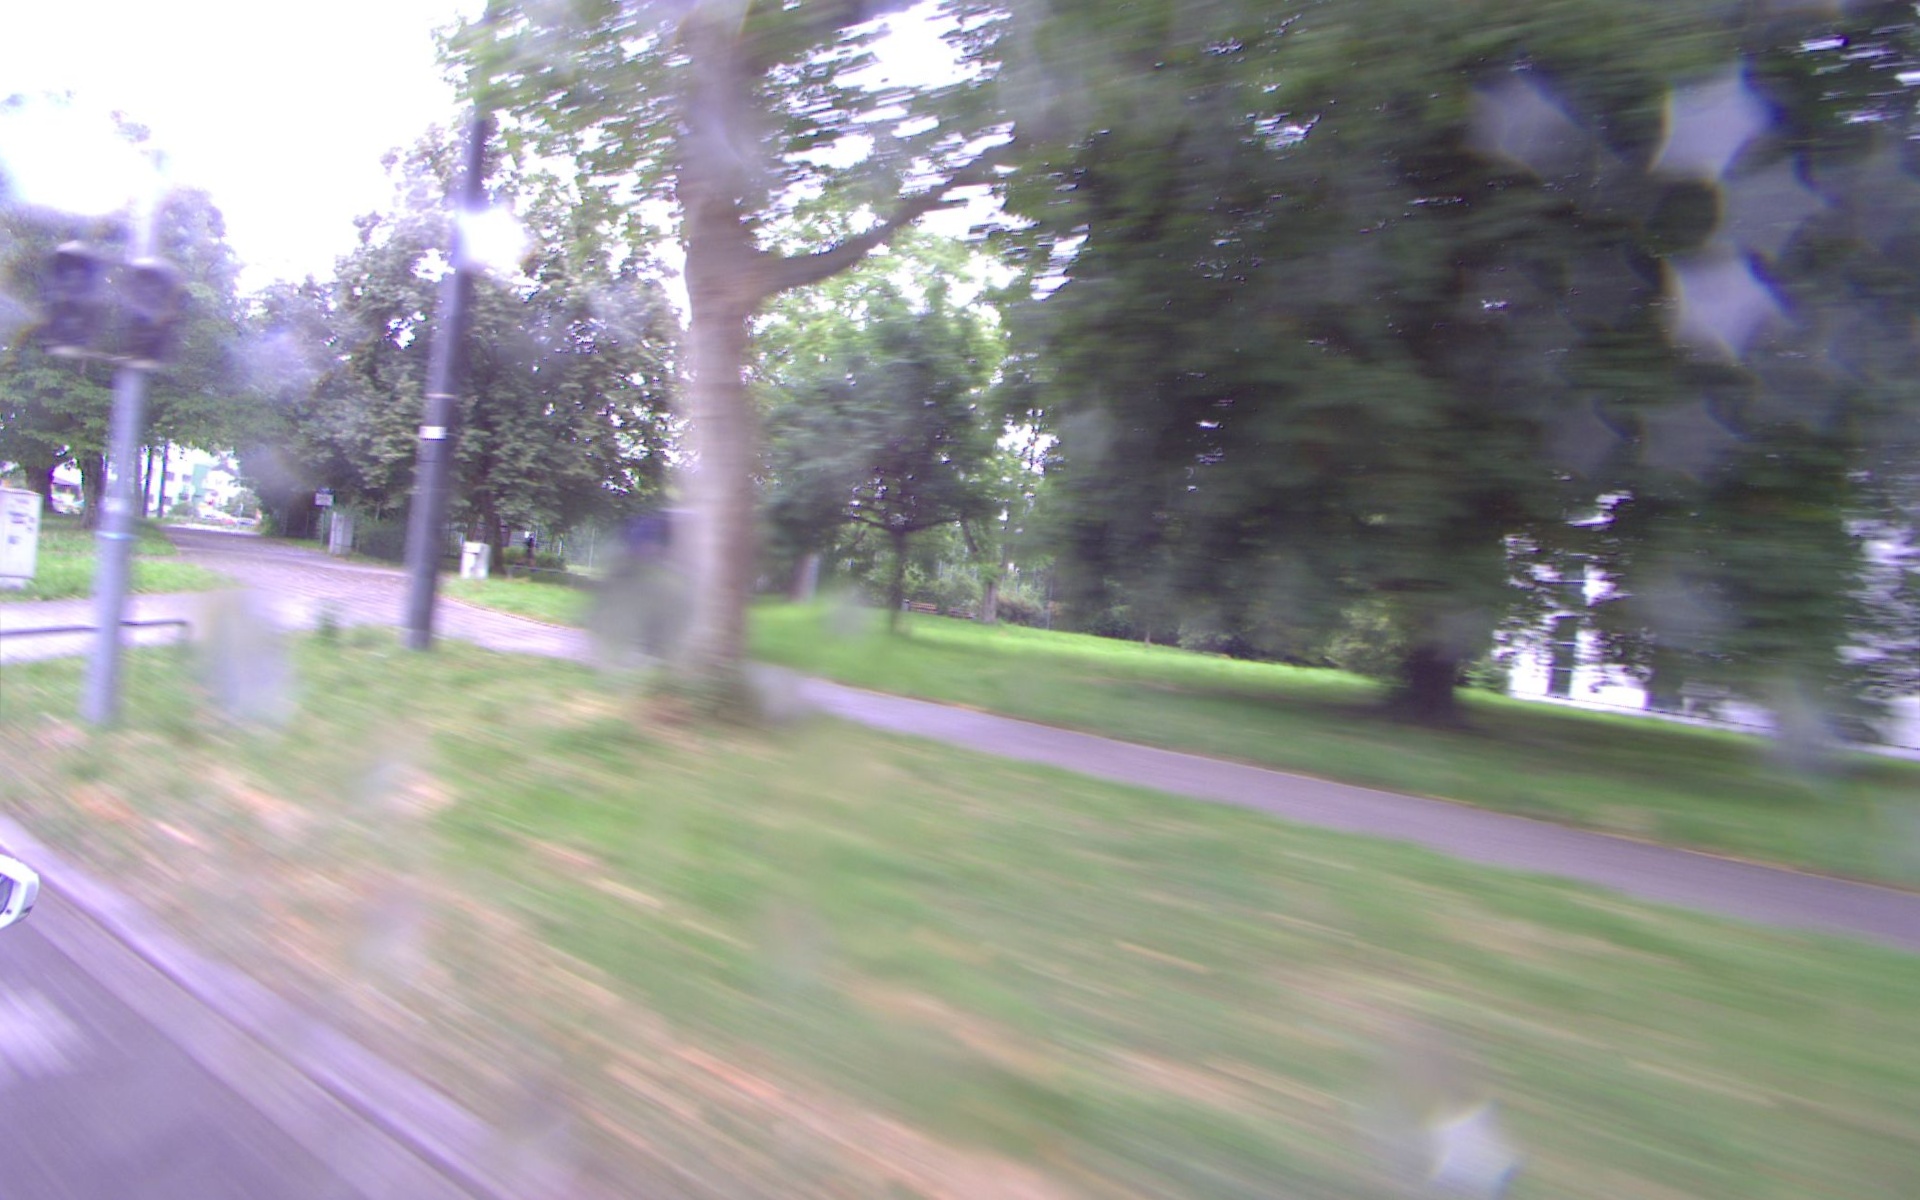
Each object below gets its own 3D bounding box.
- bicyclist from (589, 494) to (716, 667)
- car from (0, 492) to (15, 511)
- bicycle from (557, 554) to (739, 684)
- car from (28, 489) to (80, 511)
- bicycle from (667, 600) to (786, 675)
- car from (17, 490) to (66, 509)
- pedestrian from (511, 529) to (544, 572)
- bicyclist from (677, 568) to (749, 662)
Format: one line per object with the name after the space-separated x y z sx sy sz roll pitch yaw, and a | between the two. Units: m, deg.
-3.338 -0.207 10.921 0.941 1.743 0.712 7 2 32 | bicyclist
-79.244 -8.221 81.635 3.742 1.438 1.690 7 1 9 | car
-3.423 0.192 10.956 1.939 1.157 0.712 7 1 33 | bicycle
-105.931 -11.666 117.657 4.095 1.883 1.663 6 0 -25 | car
-2.781 0.442 11.936 1.435 0.717 0.487 6 0 35 | bicycle
-104.526 -11.416 114.549 3.719 1.460 1.750 7 0 -29 | car
-18.578 -2.115 43.201 1.025 1.716 0.846 6 1 -34 | pedestrian
-2.965 0.179 12.073 0.582 1.051 0.487 7 1 35 | bicyclist
